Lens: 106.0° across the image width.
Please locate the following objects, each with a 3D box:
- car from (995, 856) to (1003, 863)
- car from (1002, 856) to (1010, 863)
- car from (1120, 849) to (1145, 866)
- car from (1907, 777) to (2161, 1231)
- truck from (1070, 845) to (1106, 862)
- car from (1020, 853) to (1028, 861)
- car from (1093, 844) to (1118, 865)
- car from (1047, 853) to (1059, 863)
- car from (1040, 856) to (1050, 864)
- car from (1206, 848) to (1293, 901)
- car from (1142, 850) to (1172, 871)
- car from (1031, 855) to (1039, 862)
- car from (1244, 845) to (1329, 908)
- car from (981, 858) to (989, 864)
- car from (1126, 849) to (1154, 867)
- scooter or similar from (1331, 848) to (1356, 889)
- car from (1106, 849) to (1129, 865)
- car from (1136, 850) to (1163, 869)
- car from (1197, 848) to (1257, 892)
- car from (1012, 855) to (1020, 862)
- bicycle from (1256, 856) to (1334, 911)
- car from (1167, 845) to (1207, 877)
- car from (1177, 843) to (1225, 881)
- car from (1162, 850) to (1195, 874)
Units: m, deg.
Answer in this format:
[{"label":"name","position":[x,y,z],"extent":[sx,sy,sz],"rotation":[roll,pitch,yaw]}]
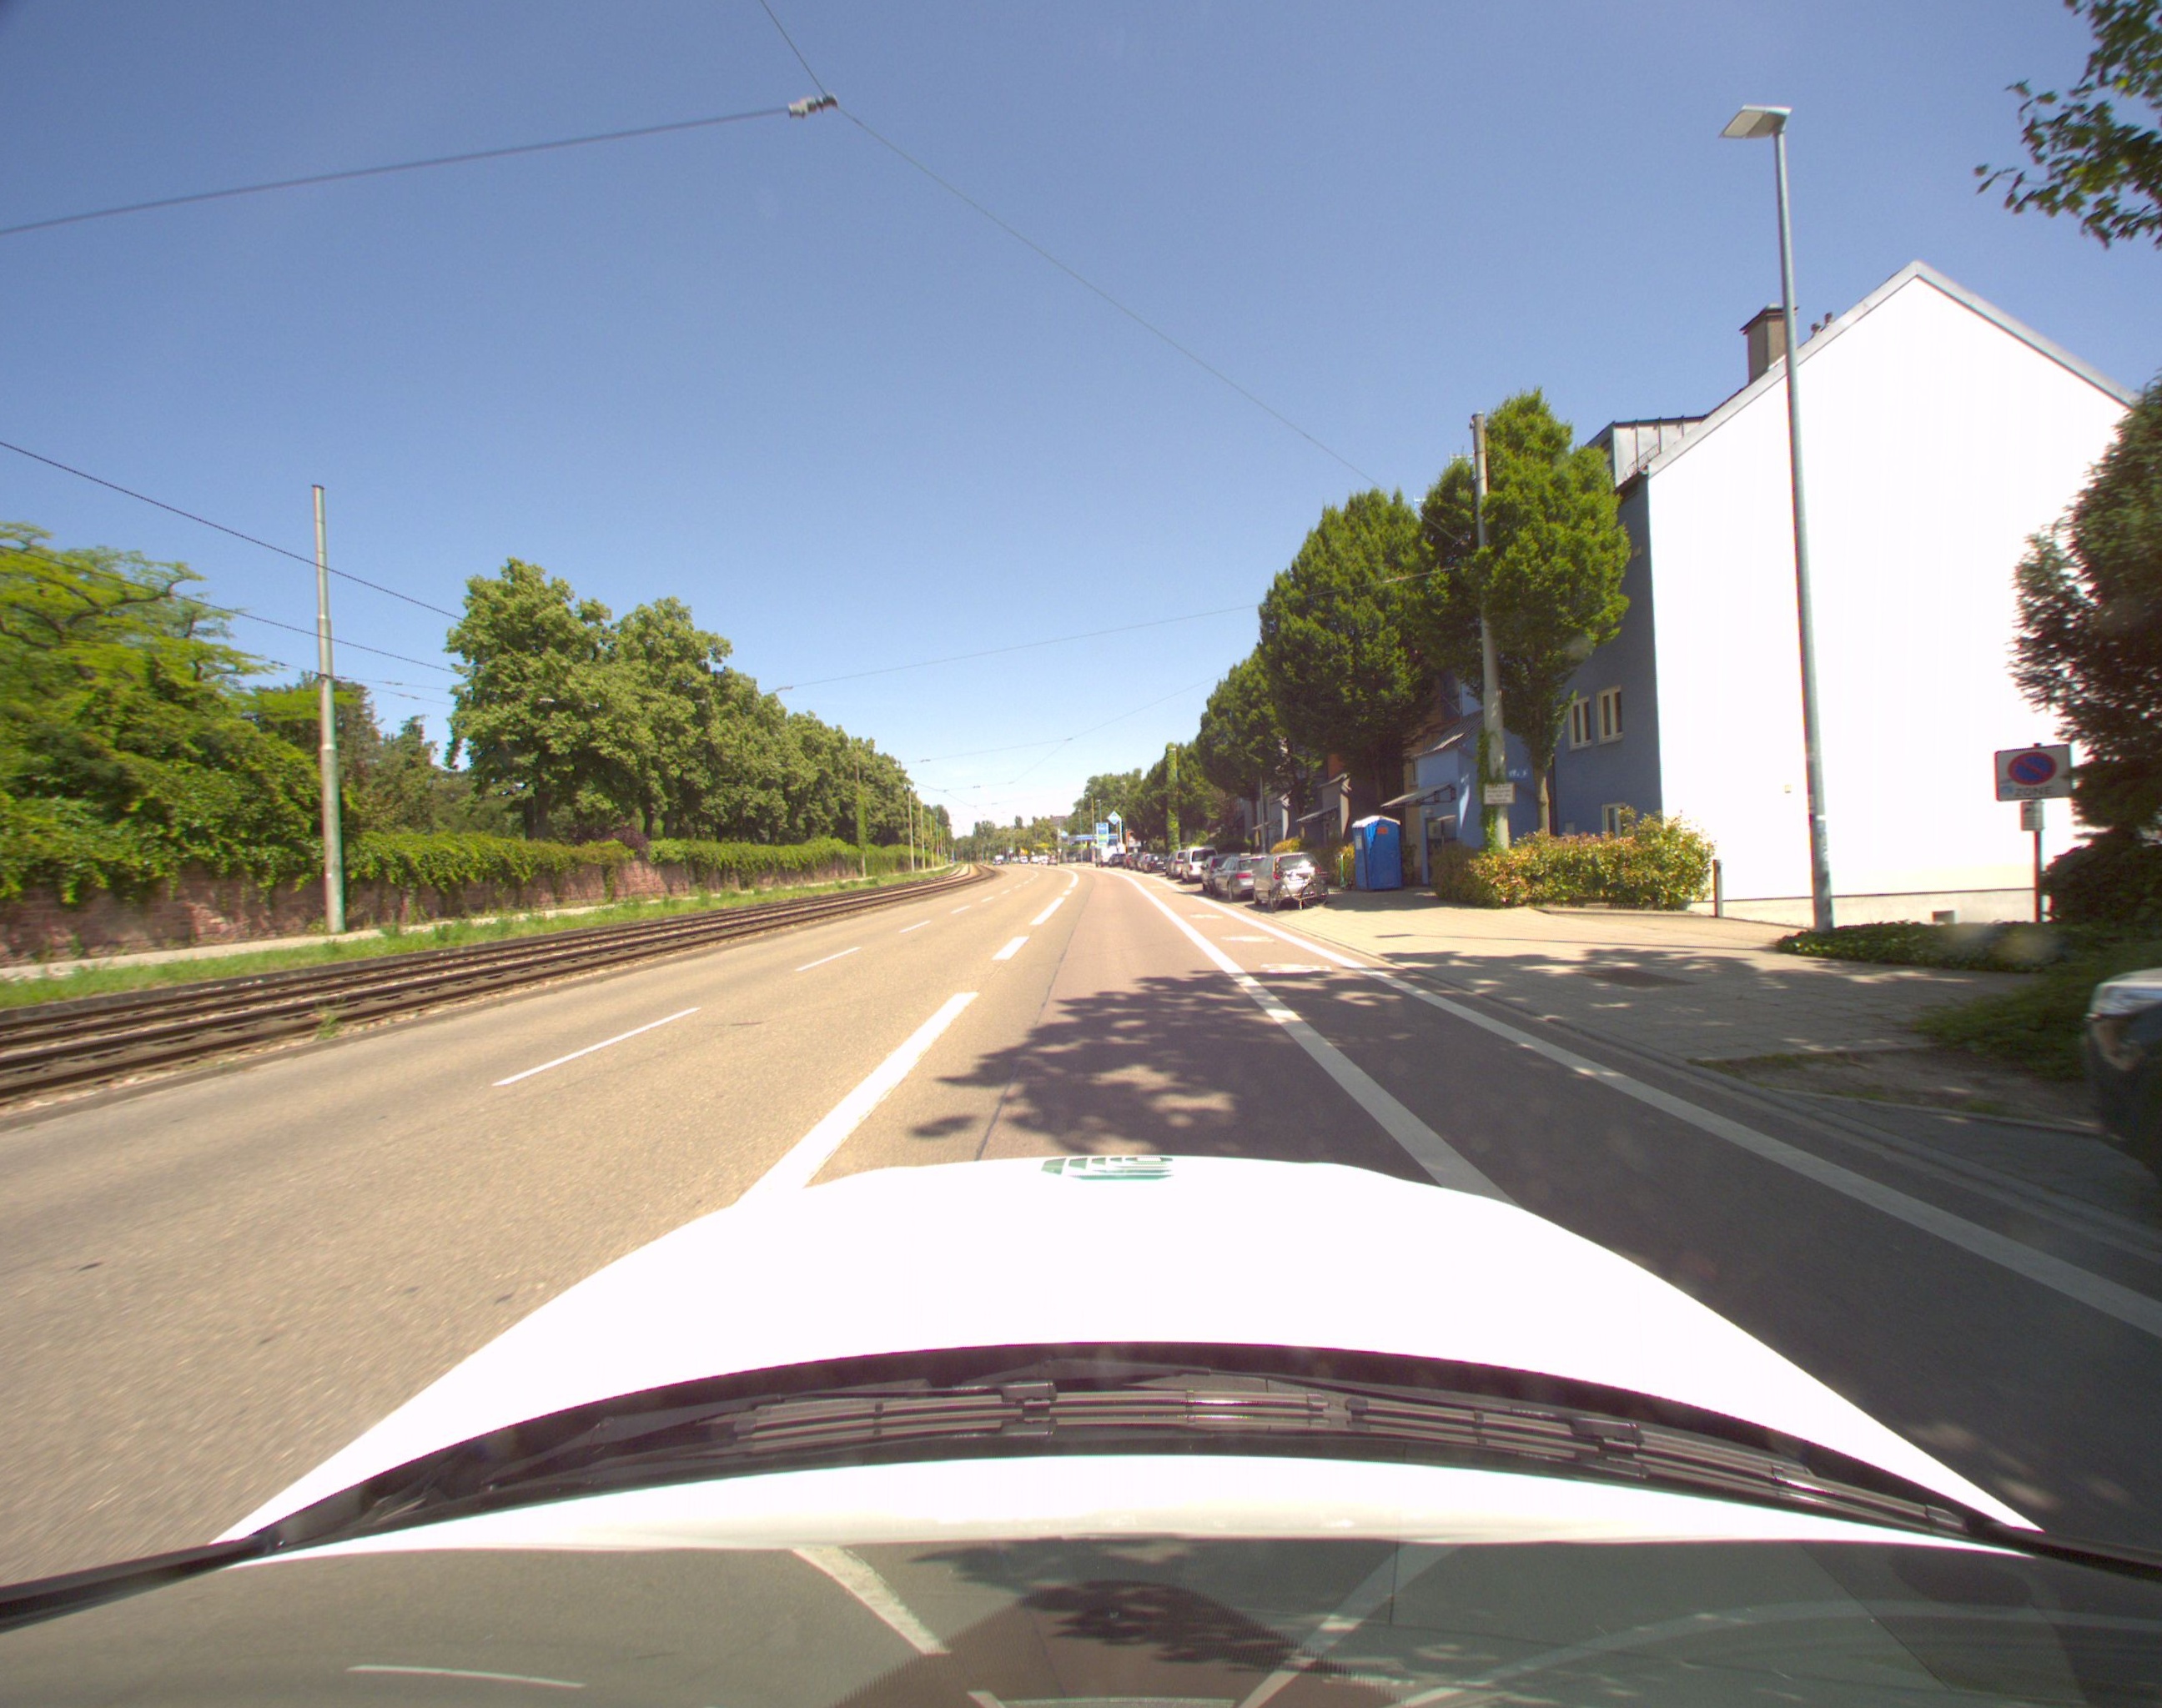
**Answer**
[{"label":"car","position":[-19.294,1.355,191.157],"extent":[1.754,1.509,4.313],"rotation":[-5,0,-7]},{"label":"car","position":[-19.485,1.310,210.429],"extent":[1.754,1.630,4.313],"rotation":[-5,0,-7]},{"label":"car","position":[5.257,0.397,83.489],"extent":[1.705,1.562,4.315],"rotation":[-5,0,-6]},{"label":"car","position":[4.873,0.525,1.622],"extent":[1.833,1.706,4.630],"rotation":[-5,0,3]},{"label":"truck","position":[1.613,-0.194,187.723],"extent":[7.946,3.602,2.661],"rotation":[-2,0,-2]},{"label":"car","position":[-14.569,0.837,208.821],"extent":[1.754,1.874,4.313],"rotation":[-5,0,-7]},{"label":"car","position":[3.123,0.047,103.636],"extent":[2.000,2.456,6.092],"rotation":[-5,0,-8]},{"label":"car","position":[-5.205,0.708,152.074],"extent":[1.754,1.630,4.313],"rotation":[-5,0,-7]},{"label":"car","position":[-8.038,1.432,182.140],"extent":[1.753,1.630,4.315],"rotation":[-5,0,-6]},{"label":"car","position":[5.721,0.633,28.333],"extent":[1.835,1.529,4.964],"rotation":[-5,0,-1]},{"label":"car","position":[6.114,0.496,66.366],"extent":[1.703,1.492,5.034],"rotation":[-5,0,-2]},{"label":"car","position":[-12.070,1.125,213.590],"extent":[1.754,1.630,4.313],"rotation":[-5,0,-7]},{"label":"car","position":[5.783,0.581,23.321],"extent":[1.513,1.529,3.818],"rotation":[-5,0,2]},{"label":"car","position":[-26.320,1.894,223.634],"extent":[1.757,1.630,4.305],"rotation":[-5,0,-12]},{"label":"car","position":[5.591,0.391,77.563],"extent":[1.706,1.562,4.312],"rotation":[-5,0,-7]},{"label":"scooter or similar","position":[8.505,0.461,26.406],"extent":[0.382,1.280,1.339],"rotation":[-1,0,2]},{"label":"car","position":[4.186,0.385,93.492],"extent":[1.754,1.630,4.313],"rotation":[-5,0,-7]},{"label":"car","position":[6.005,0.486,72.042],"extent":[1.703,1.492,4.726],"rotation":[-5,0,-3]},{"label":"car","position":[5.892,0.611,33.369],"extent":[1.833,1.529,4.220],"rotation":[-5,0,3]},{"label":"car","position":[-16.772,1.156,209.367],"extent":[1.753,1.630,4.315],"rotation":[-5,0,-6]},{"label":"bicycle","position":[5.577,0.759,21.285],"extent":[1.765,1.228,0.685],"rotation":[-7,-1,5]},{"label":"car","position":[6.382,0.378,49.495],"extent":[1.833,1.694,4.781],"rotation":[-5,0,2]},{"label":"car","position":[6.331,0.381,43.308],"extent":[1.835,1.794,4.354],"rotation":[-5,0,0]},{"label":"car","position":[6.551,0.492,54.861],"extent":[1.579,1.423,4.178],"rotation":[-5,0,-1]}]
